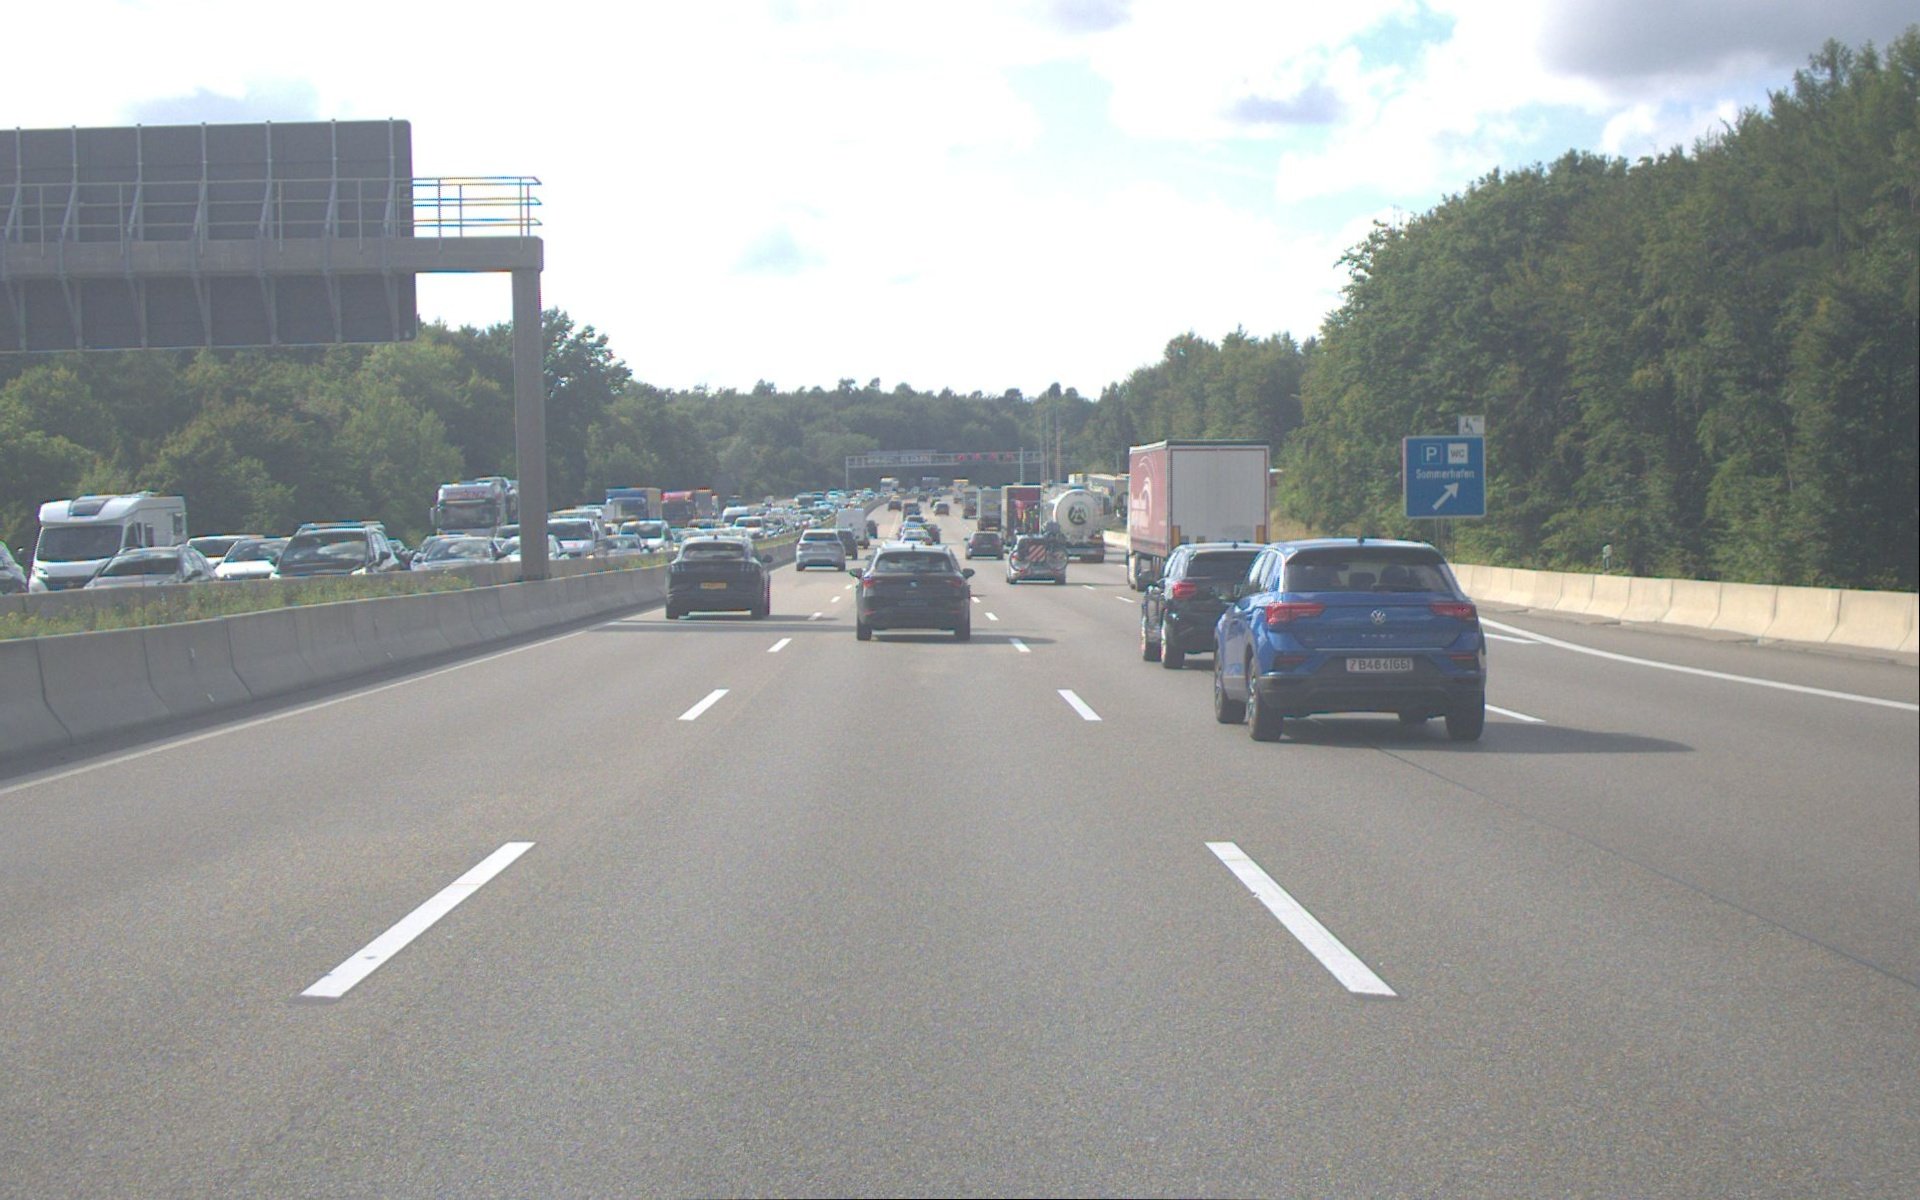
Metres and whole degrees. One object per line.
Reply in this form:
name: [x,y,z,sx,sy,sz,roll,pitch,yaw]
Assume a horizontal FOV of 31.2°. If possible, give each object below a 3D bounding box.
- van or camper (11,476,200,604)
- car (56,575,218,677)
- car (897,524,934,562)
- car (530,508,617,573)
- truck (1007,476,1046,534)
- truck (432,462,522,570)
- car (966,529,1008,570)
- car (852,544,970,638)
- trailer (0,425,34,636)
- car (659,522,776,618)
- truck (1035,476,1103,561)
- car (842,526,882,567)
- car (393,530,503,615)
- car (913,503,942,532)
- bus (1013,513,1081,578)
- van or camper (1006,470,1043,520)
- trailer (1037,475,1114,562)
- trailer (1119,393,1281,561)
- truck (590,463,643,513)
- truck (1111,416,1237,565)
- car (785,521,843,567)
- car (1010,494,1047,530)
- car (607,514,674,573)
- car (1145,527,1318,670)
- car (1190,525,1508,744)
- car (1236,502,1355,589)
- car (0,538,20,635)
van or camper: [-18.612,-1.275,75.288,2.325,2.634,7.397,1,0,0]
car: [-14.699,0.430,61.615,1.800,1.626,4.663,2,1,-1]
car: [-2.484,-3.152,189.538,1.993,2.007,4.000,-1,0,-1]
car: [-11.075,-1.723,98.743,2.086,1.795,4.179,1,1,-1]
truck: [4.272,-6.139,223.836,2.358,3.560,11.266,1,0,0]
truck: [-19.569,-3.399,139.419,2.853,4.219,5.713,1,1,-1]
car: [1.355,-2.566,174.680,1.993,2.007,4.000,1,1,-1]
car: [-0.785,-0.166,53.138,1.734,1.360,4.000,1,1,-1]
trailer: [-18.998,-1.189,57.959,3.411,3.815,13.262,1,1,-1]
car: [-4.676,-0.601,66.827,1.993,1.770,4.000,1,1,0]
truck: [5.385,-4.050,171.271,3.045,4.146,7.127,0,1,-1]
car: [-4.961,-2.689,174.142,1.993,2.007,4.000,1,0,-1]
car: [-11.303,-0.640,76.193,1.767,1.792,4.939,1,1,-1]
car: [-2.299,-5.814,241.990,1.993,2.007,4.000,1,1,-1]
bus: [2.748,-1.696,108.954,1.993,2.007,4.000,1,0,0]
van or camper: [4.320,-7.027,230.655,2.351,3.133,5.710,1,0,0]
trailer: [5.489,-3.879,165.405,3.036,4.002,12.246,0,1,-1]
trailer: [6.210,-3.097,91.352,3.038,4.021,13.891,1,0,-1]
truck: [-19.798,-6.451,198.422,2.328,2.792,7.950,2,1,-1]
truck: [6.063,-3.068,98.216,3.080,4.049,6.070,1,0,-1]
car: [-5.815,-2.249,137.370,2.154,1.770,4.000,1,1,0]
car: [3.938,-5.071,198.665,1.993,2.007,4.000,1,0,-1]
car: [-11.676,-2.051,125.955,1.993,2.093,5.278,1,0,0]
car: [3.267,-0.054,41.953,1.799,1.638,4.000,1,1,0]
car: [3.020,0.207,27.636,1.924,1.536,4.646,2,1,-1]
car: [6.069,-1.002,62.534,1.715,1.506,4.302,-1,1,0]
car: [-10.114,-0.112,31.894,1.643,0.936,4.489,1,1,-1]
